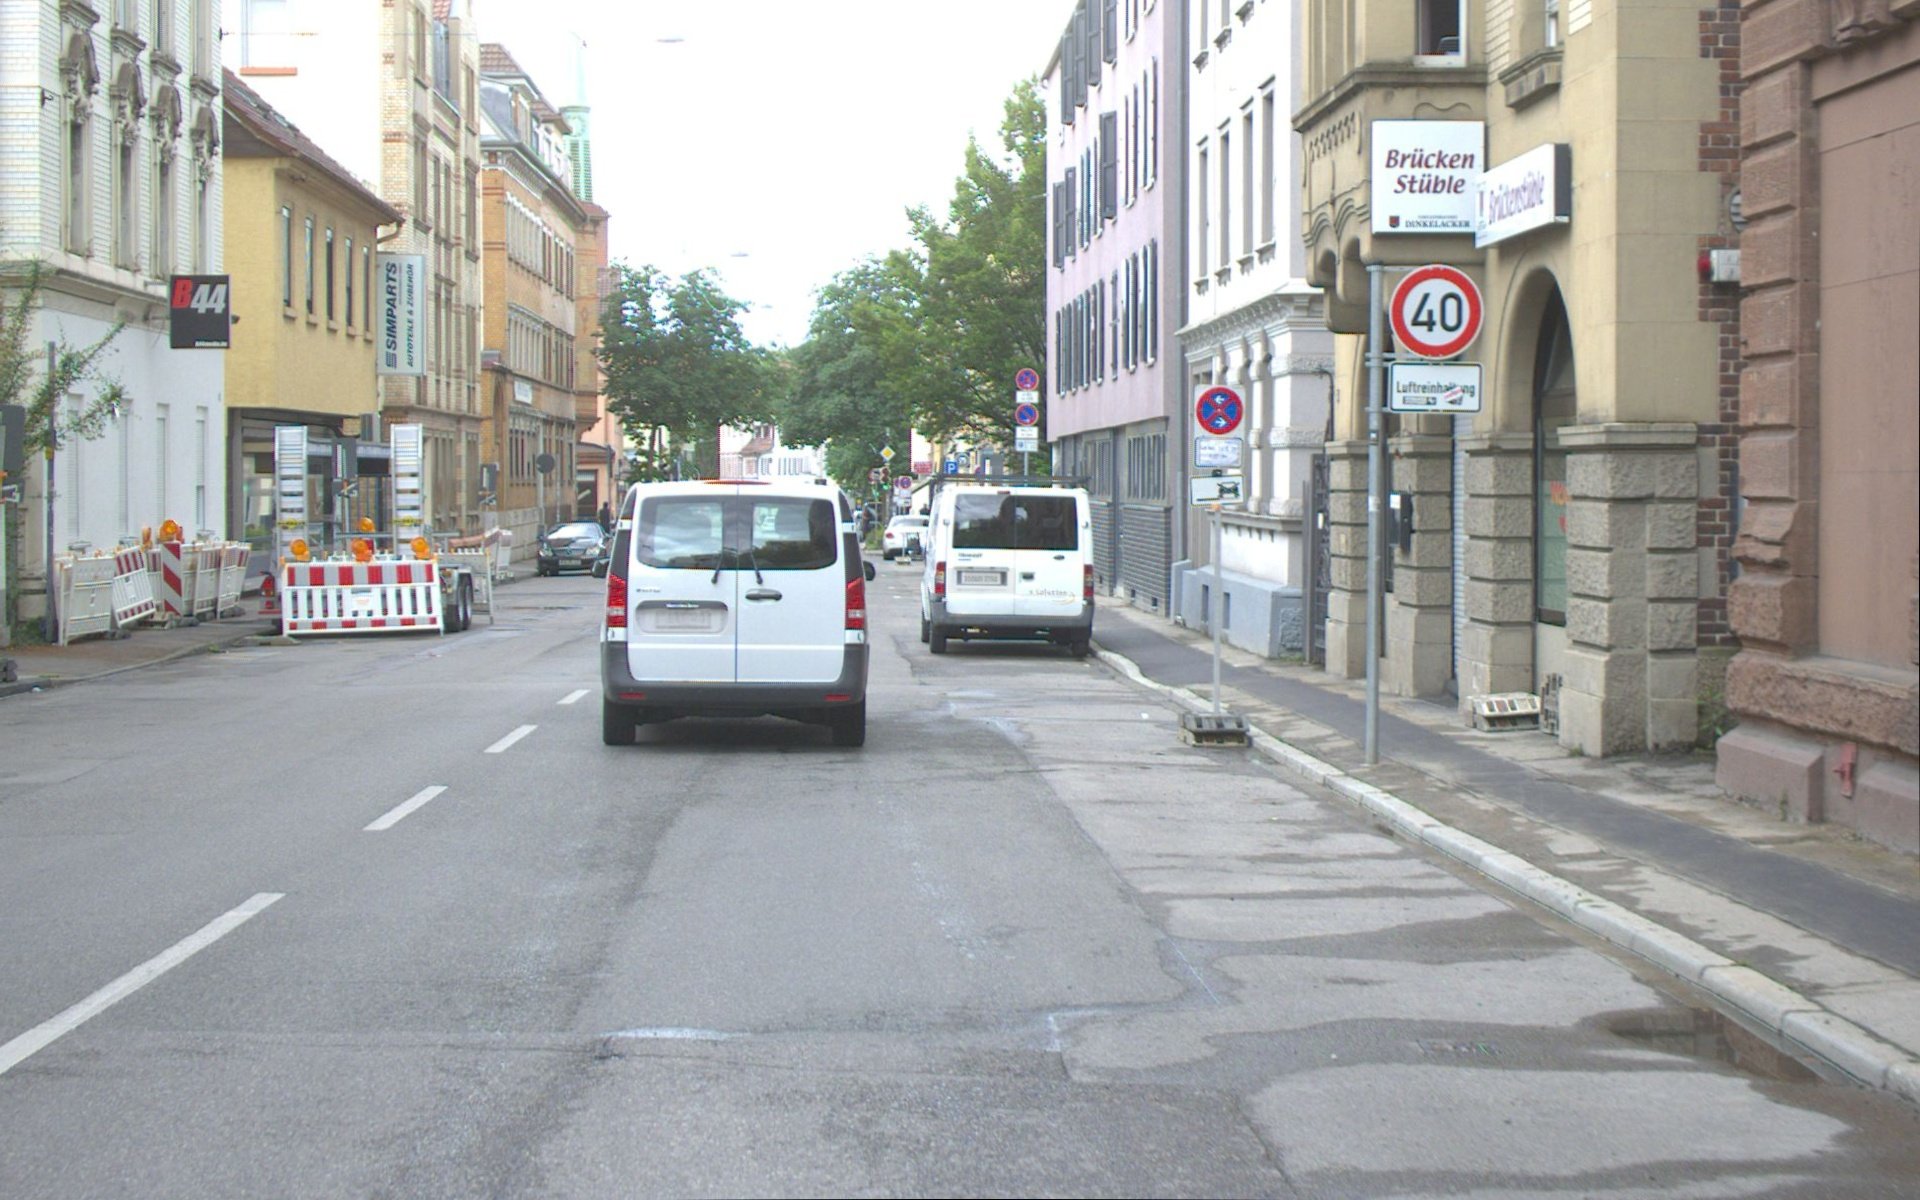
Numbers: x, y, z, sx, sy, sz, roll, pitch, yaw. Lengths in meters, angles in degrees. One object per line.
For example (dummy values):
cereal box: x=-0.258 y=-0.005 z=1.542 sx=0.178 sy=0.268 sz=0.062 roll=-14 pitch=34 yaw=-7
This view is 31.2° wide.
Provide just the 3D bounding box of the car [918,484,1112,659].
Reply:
car: x=0.614 y=-0.397 z=42.840 sx=2.128 sy=1.998 sz=4.927 roll=1 pitch=1 yaw=-2

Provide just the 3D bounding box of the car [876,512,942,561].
car: x=-1.694 y=-2.117 z=113.468 sx=1.993 sy=1.480 sz=4.001 roll=3 pitch=1 yaw=-3

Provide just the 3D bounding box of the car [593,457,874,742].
car: x=-1.783 y=-0.025 z=25.760 sx=1.891 sy=1.922 sz=4.646 roll=-1 pitch=1 yaw=-6

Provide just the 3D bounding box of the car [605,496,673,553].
car: x=-10.584 y=-2.503 z=113.471 sx=1.993 sy=1.735 sz=4.001 roll=2 pitch=1 yaw=-3

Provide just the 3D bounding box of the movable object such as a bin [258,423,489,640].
movable object such as a bin: x=-8.111 y=-0.972 z=47.986 sx=2.537 sy=2.815 sz=4.540 roll=-2 pitch=2 yaw=-3

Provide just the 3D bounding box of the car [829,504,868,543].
car: x=-5.981 y=-4.091 z=184.712 sx=1.993 sy=2.007 sz=4.000 roll=-1 pitch=1 yaw=0

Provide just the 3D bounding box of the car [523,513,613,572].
car: x=-10.057 y=-1.505 z=88.499 sx=1.993 sy=1.437 sz=4.001 roll=-1 pitch=2 yaw=-2
